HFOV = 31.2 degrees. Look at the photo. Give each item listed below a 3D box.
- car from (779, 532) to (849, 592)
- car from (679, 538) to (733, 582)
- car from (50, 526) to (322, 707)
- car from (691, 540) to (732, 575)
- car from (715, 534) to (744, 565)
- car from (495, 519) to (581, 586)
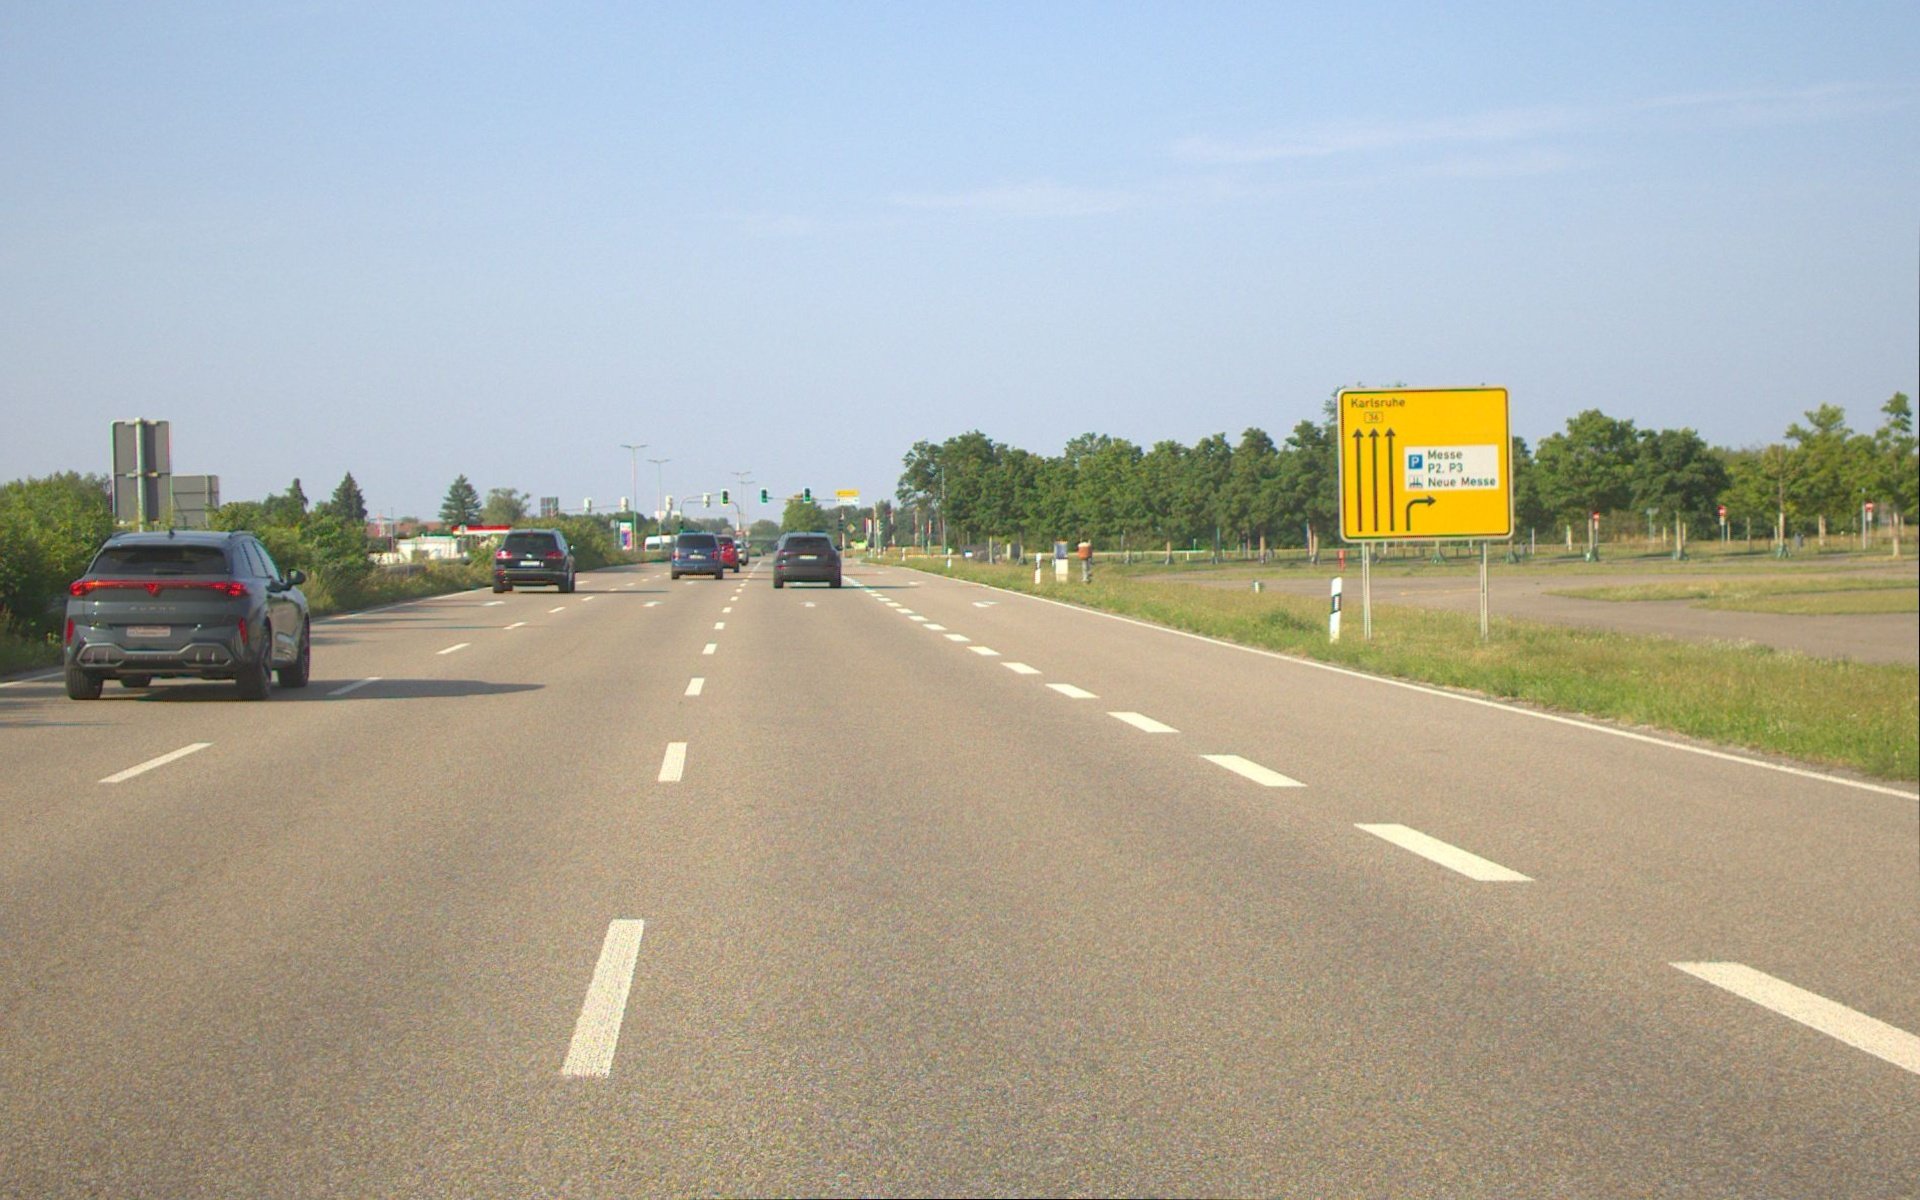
[{"bbox_3d":[-4.304,-1.134,100.867,1.932,1.674,4.401,1,1,-3],"label":"car"},{"bbox_3d":[-8.975,-1.431,121.707,1.812,1.458,4.401,1,1,-3],"label":"car"},{"bbox_3d":[-7.433,0.113,33.424,1.845,1.606,4.401,1,1,-3],"label":"car"},{"bbox_3d":[-10.580,-1.826,146.519,1.647,1.458,3.981,1,1,-3],"label":"car"},{"bbox_3d":[-13.199,-2.883,196.948,1.645,1.722,3.401,0,0,-4],"label":"car"},{"bbox_3d":[-11.111,-1.272,90.669,1.932,1.674,4.401,1,1,-3],"label":"car"}]
